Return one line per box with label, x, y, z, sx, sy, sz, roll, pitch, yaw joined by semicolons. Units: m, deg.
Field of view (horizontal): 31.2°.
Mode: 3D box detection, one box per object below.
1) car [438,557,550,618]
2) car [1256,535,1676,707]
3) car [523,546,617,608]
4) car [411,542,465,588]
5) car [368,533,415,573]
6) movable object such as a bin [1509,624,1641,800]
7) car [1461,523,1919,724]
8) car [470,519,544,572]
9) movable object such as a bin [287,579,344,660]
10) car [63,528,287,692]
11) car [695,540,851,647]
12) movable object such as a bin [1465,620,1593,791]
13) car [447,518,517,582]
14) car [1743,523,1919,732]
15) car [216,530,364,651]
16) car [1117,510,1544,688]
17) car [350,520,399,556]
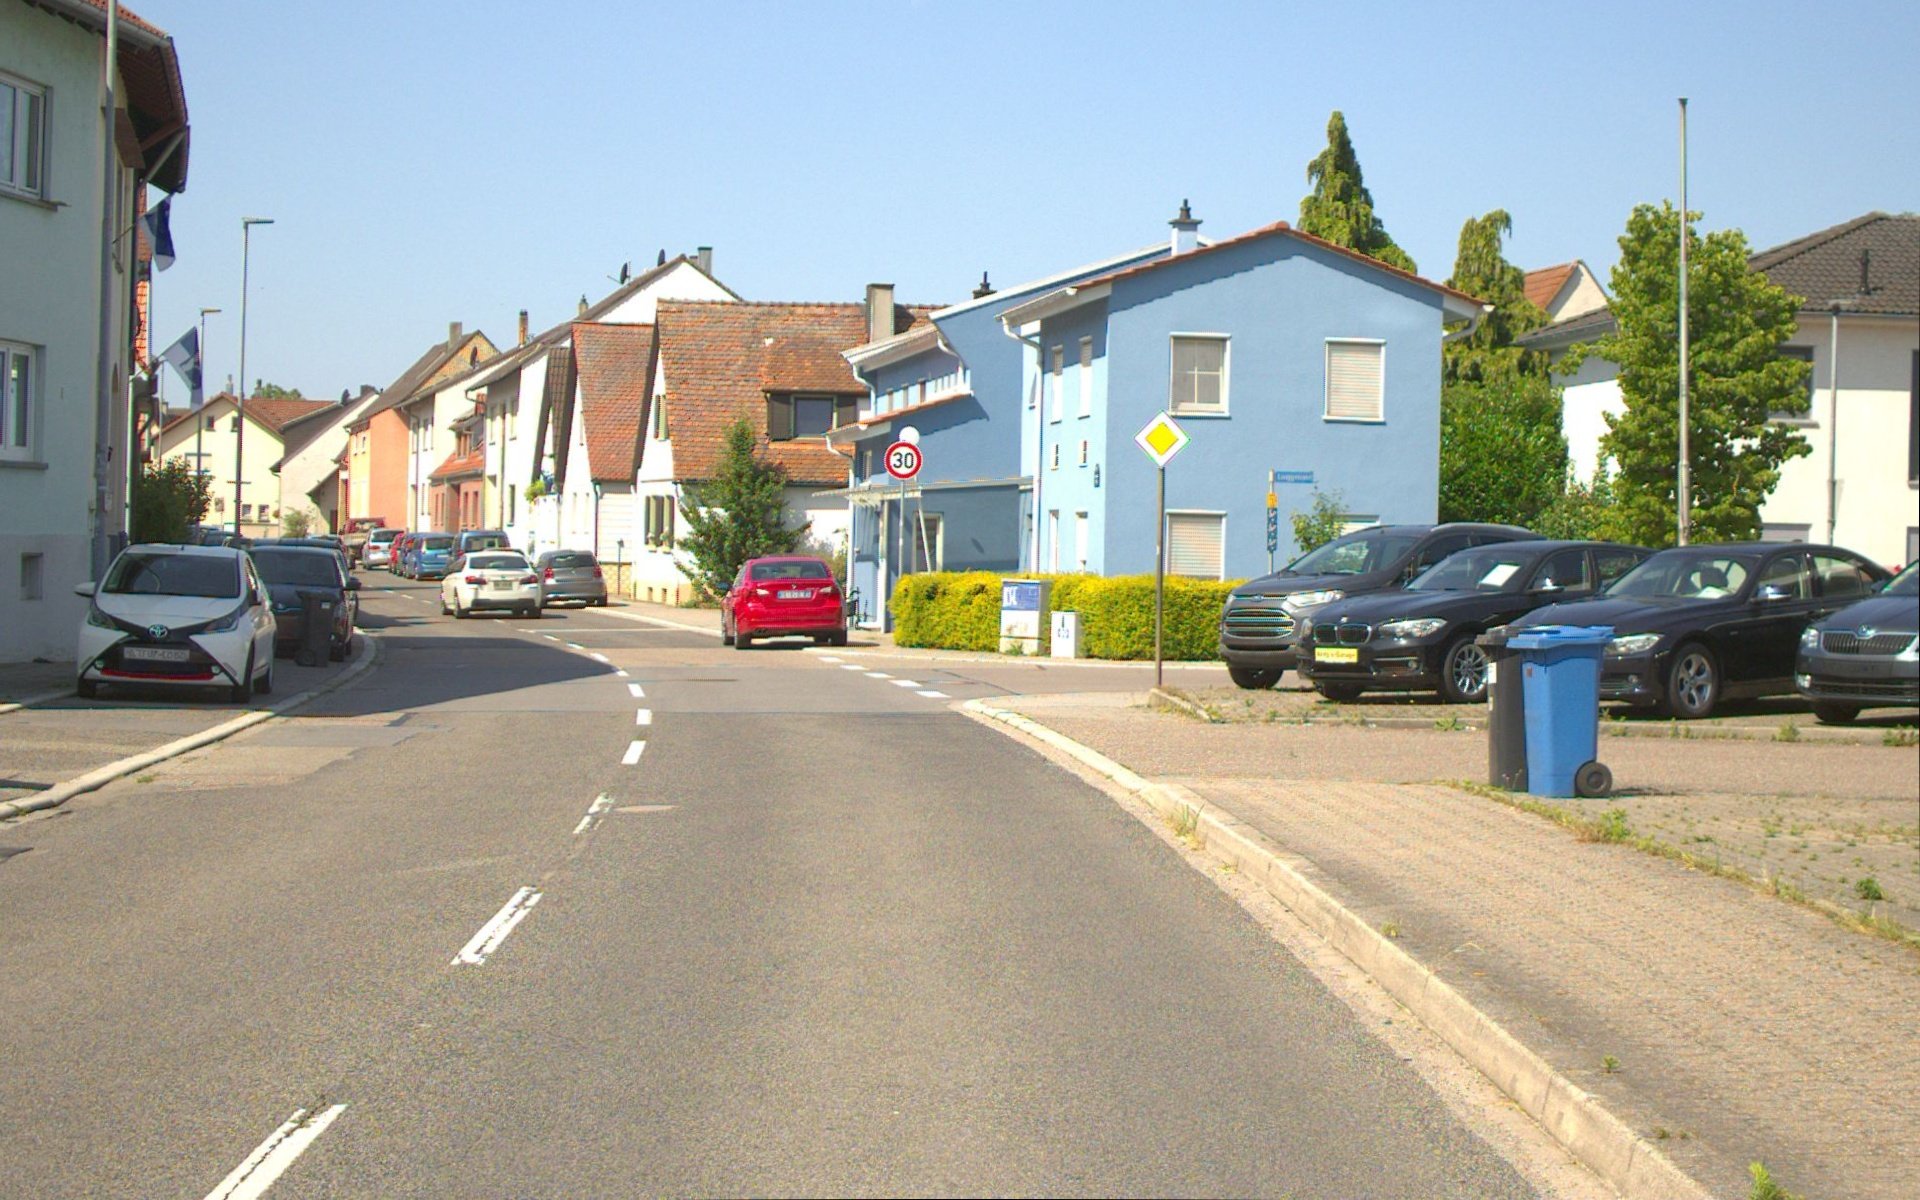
car;-10.390;-0.291;76.423;1.993;1.284;4.001;1;1;-15
car;4.619;0.164;31.073;3.863;1.442;1.750;0;1;-44
car;-9.759;-0.599;85.852;1.704;1.428;3.891;2;1;-15
car;-17.880;-1.210;117.747;1.420;1.510;3.305;2;1;-15
car;-22.330;-1.850;134.996;1.420;1.510;3.305;2;1;-15
movable object such as a bin;3.370;0.607;18.852;0.557;0.936;0.515;1;1;-10
car;6.337;0.166;28.995;4.228;1.560;1.983;0;1;-44
car;-13.528;-1.639;102.530;1.704;1.491;3.453;2;1;-15
movable object such as a bin;-7.956;0.237;42.402;0.551;0.925;0.826;6;0;-14
car;-7.554;0.076;33.352;1.683;1.457;3.650;2;0;-7
car;-3.020;-0.135;54.846;1.732;1.489;4.357;0;3;-13
movable object such as a bin;3.197;0.590;19.347;0.557;0.933;0.515;1;1;-10
car;-14.914;-1.566;107.208;1.649;1.903;3.627;2;1;-15
car;8.328;0.193;27.299;4.305;1.545;1.983;0;1;-42
car;-8.902;-0.144;45.921;1.678;1.432;3.997;4;0;-9
car;3.682;-0.029;33.810;4.102;1.647;1.830;0;1;-40
car;-24.428;-2.576;143.307;1.766;1.428;3.451;1;1;-14
